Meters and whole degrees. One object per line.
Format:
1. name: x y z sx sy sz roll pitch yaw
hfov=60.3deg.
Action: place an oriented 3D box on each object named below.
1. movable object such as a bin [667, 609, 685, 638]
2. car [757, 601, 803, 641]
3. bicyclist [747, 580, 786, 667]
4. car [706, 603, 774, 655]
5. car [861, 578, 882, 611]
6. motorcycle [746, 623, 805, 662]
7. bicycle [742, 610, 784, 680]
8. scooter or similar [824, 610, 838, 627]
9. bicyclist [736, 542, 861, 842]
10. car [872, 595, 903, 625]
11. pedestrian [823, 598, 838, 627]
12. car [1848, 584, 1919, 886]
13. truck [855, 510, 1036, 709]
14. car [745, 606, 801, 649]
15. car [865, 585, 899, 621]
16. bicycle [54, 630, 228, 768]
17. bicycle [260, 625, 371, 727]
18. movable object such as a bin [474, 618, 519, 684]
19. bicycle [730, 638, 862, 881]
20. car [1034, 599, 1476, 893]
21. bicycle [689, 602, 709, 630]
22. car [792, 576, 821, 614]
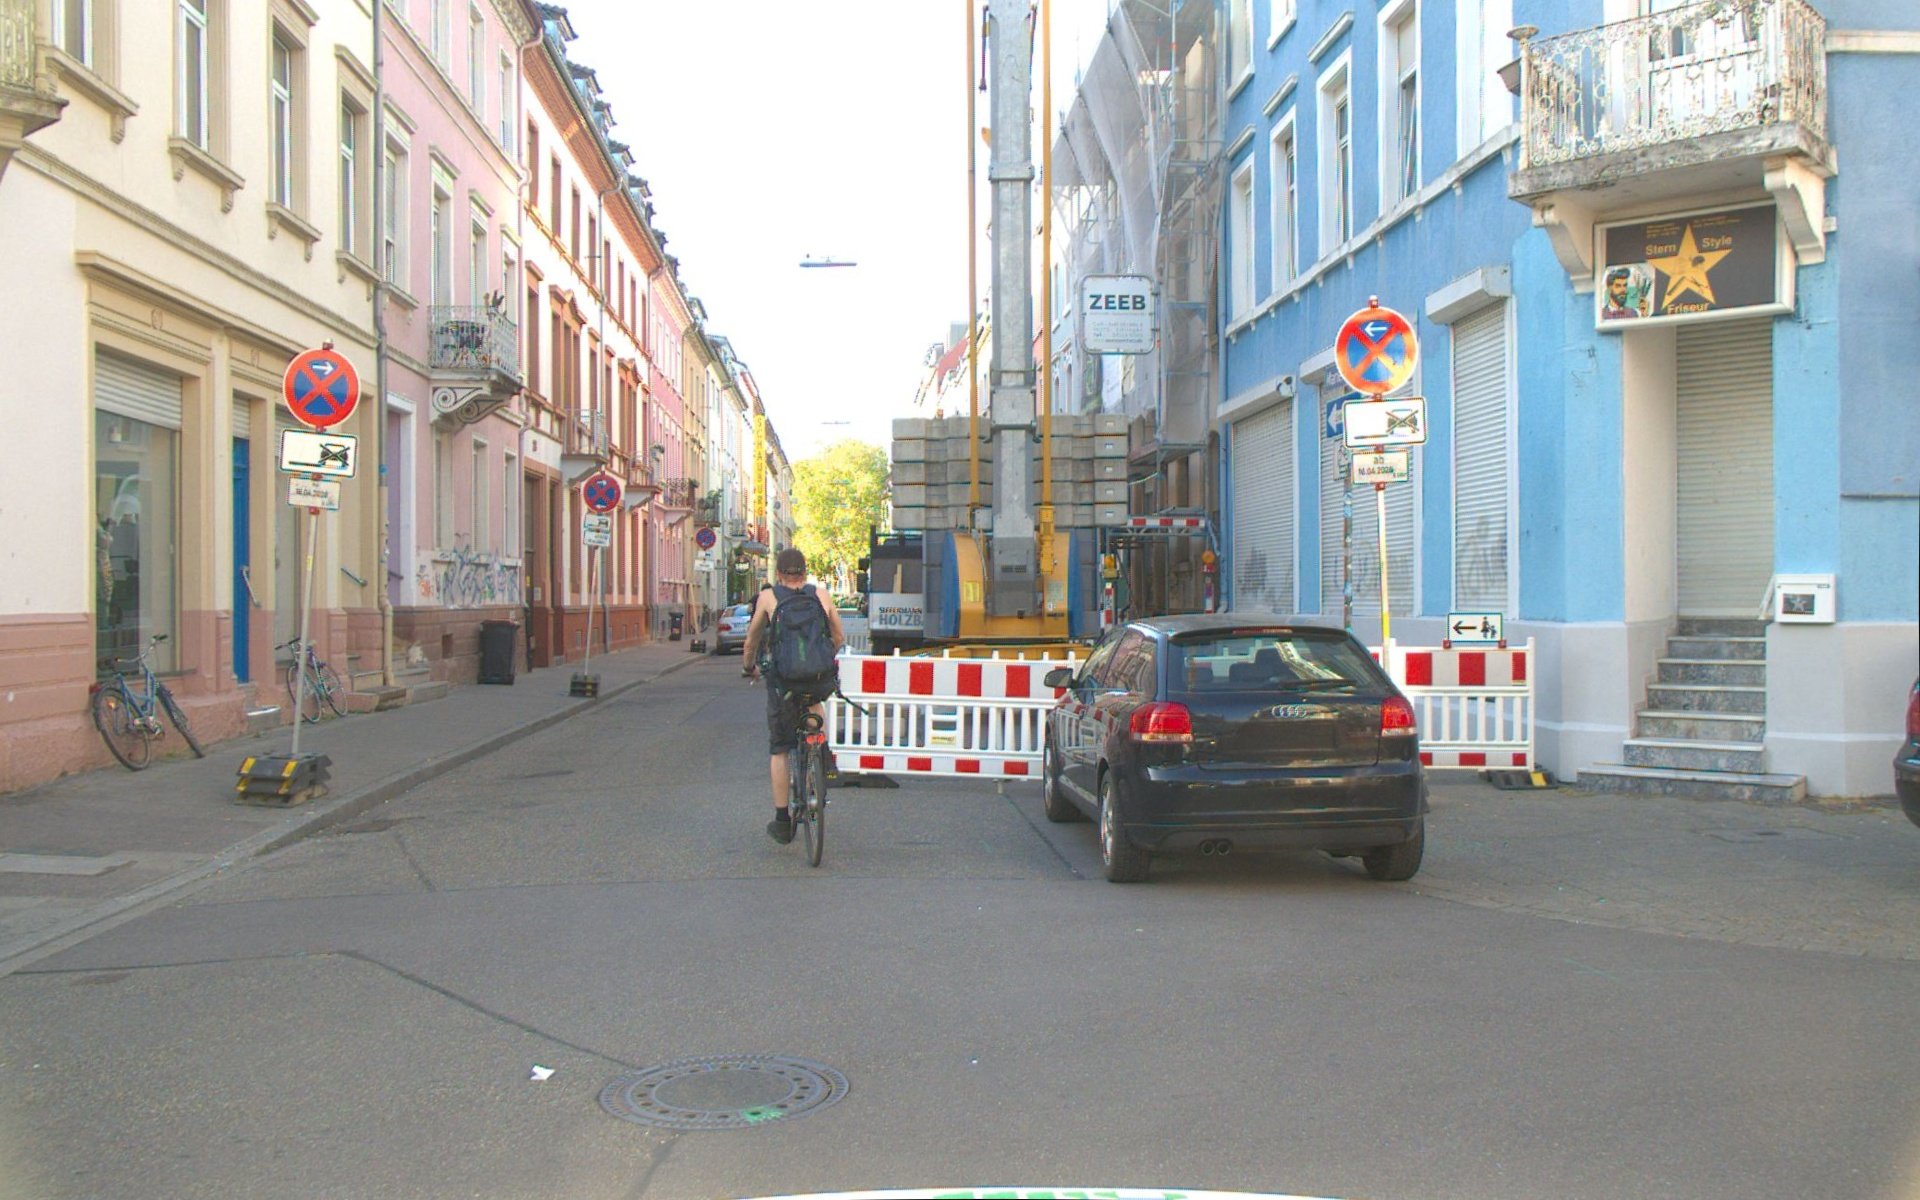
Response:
1. movable object such as a bin: -9.367 0.767 54.579 0.533 0.961 0.487 1 -1 -3
2. car: -7.201 0.835 66.521 1.639 1.467 4.161 -2 0 -4
3. bicyclist: -3.756 0.445 32.110 0.688 1.633 0.812 -1 1 -5
4. car: -6.471 0.826 49.053 1.677 1.407 4.501 -2 0 -4
5. car: -10.641 -0.616 197.995 2.262 3.833 6.763 -2 0 -4
6. motorcycle: -7.086 1.629 63.524 2.117 1.383 0.536 -3 1 -23
7. bicycle: -3.815 0.849 32.112 0.688 1.229 2.340 -1 1 -4
8. scooter or similar: -7.257 1.041 93.069 0.756 0.888 0.769 1 -1 -8
9. bicyclist: -0.934 0.511 9.725 0.688 1.662 1.089 0 -1 -4
10. car: -4.101 0.582 92.956 1.589 1.577 3.996 -2 0 -4
11. pedestrian: -7.332 0.694 93.564 0.756 1.606 0.898 1 -1 -8
12. car: 6.607 0.676 7.989 3.791 1.479 1.675 0 0 -4
13. truck: -0.445 0.167 27.952 2.609 2.863 7.387 1 0 -4
14. car: -6.731 0.975 59.816 1.676 1.407 4.354 0 1 -2
15. car: -5.950 0.213 125.293 2.262 2.582 6.763 -2 0 -4
16. bicycle: -6.852 0.800 13.938 0.591 1.040 1.816 4 -1 -4
17. bicycle: -7.189 0.822 18.526 0.610 1.040 1.817 1 0 -4
18. movable object such as a bin: -7.596 0.832 27.110 0.594 1.053 0.595 1 -1 -6
19. bicycle: -0.934 0.858 9.829 0.688 1.229 2.340 0 0 -4
20. car: 1.581 0.738 10.310 1.737 1.459 4.030 1 0 -5
21. bicycle: -10.697 0.655 67.745 0.581 1.108 2.077 1 -1 -4
22. car: -10.555 -0.325 113.649 1.873 2.540 4.160 -1 0 -6
